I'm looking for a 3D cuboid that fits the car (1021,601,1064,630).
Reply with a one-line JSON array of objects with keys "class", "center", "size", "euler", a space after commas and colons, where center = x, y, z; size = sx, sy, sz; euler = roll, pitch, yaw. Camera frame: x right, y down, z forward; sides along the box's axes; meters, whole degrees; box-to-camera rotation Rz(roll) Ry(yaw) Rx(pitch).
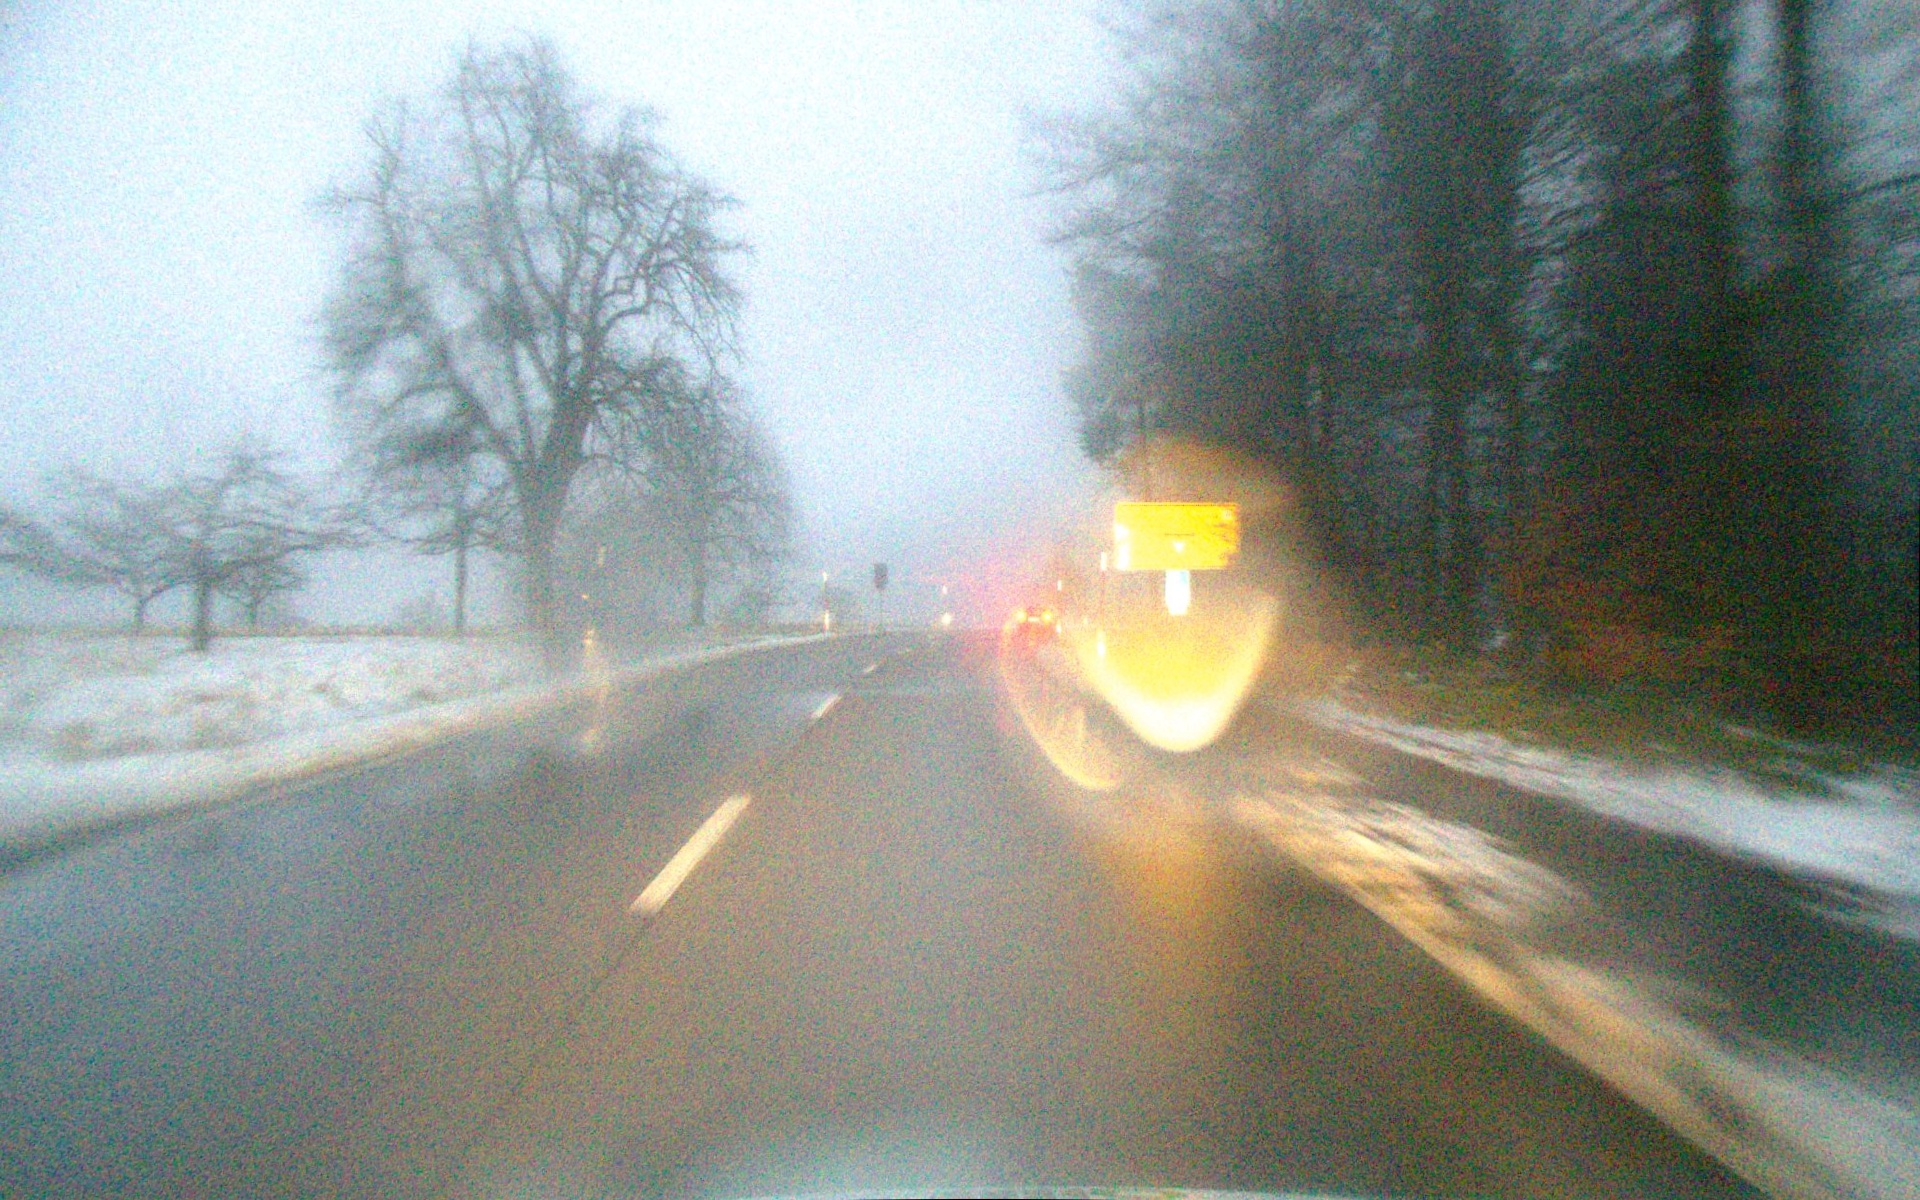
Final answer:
[{"class": "car", "center": [4.071, 0.737, 81.105], "size": [1.881, 1.299, 4.003], "euler": [0, 1, 7]}]
